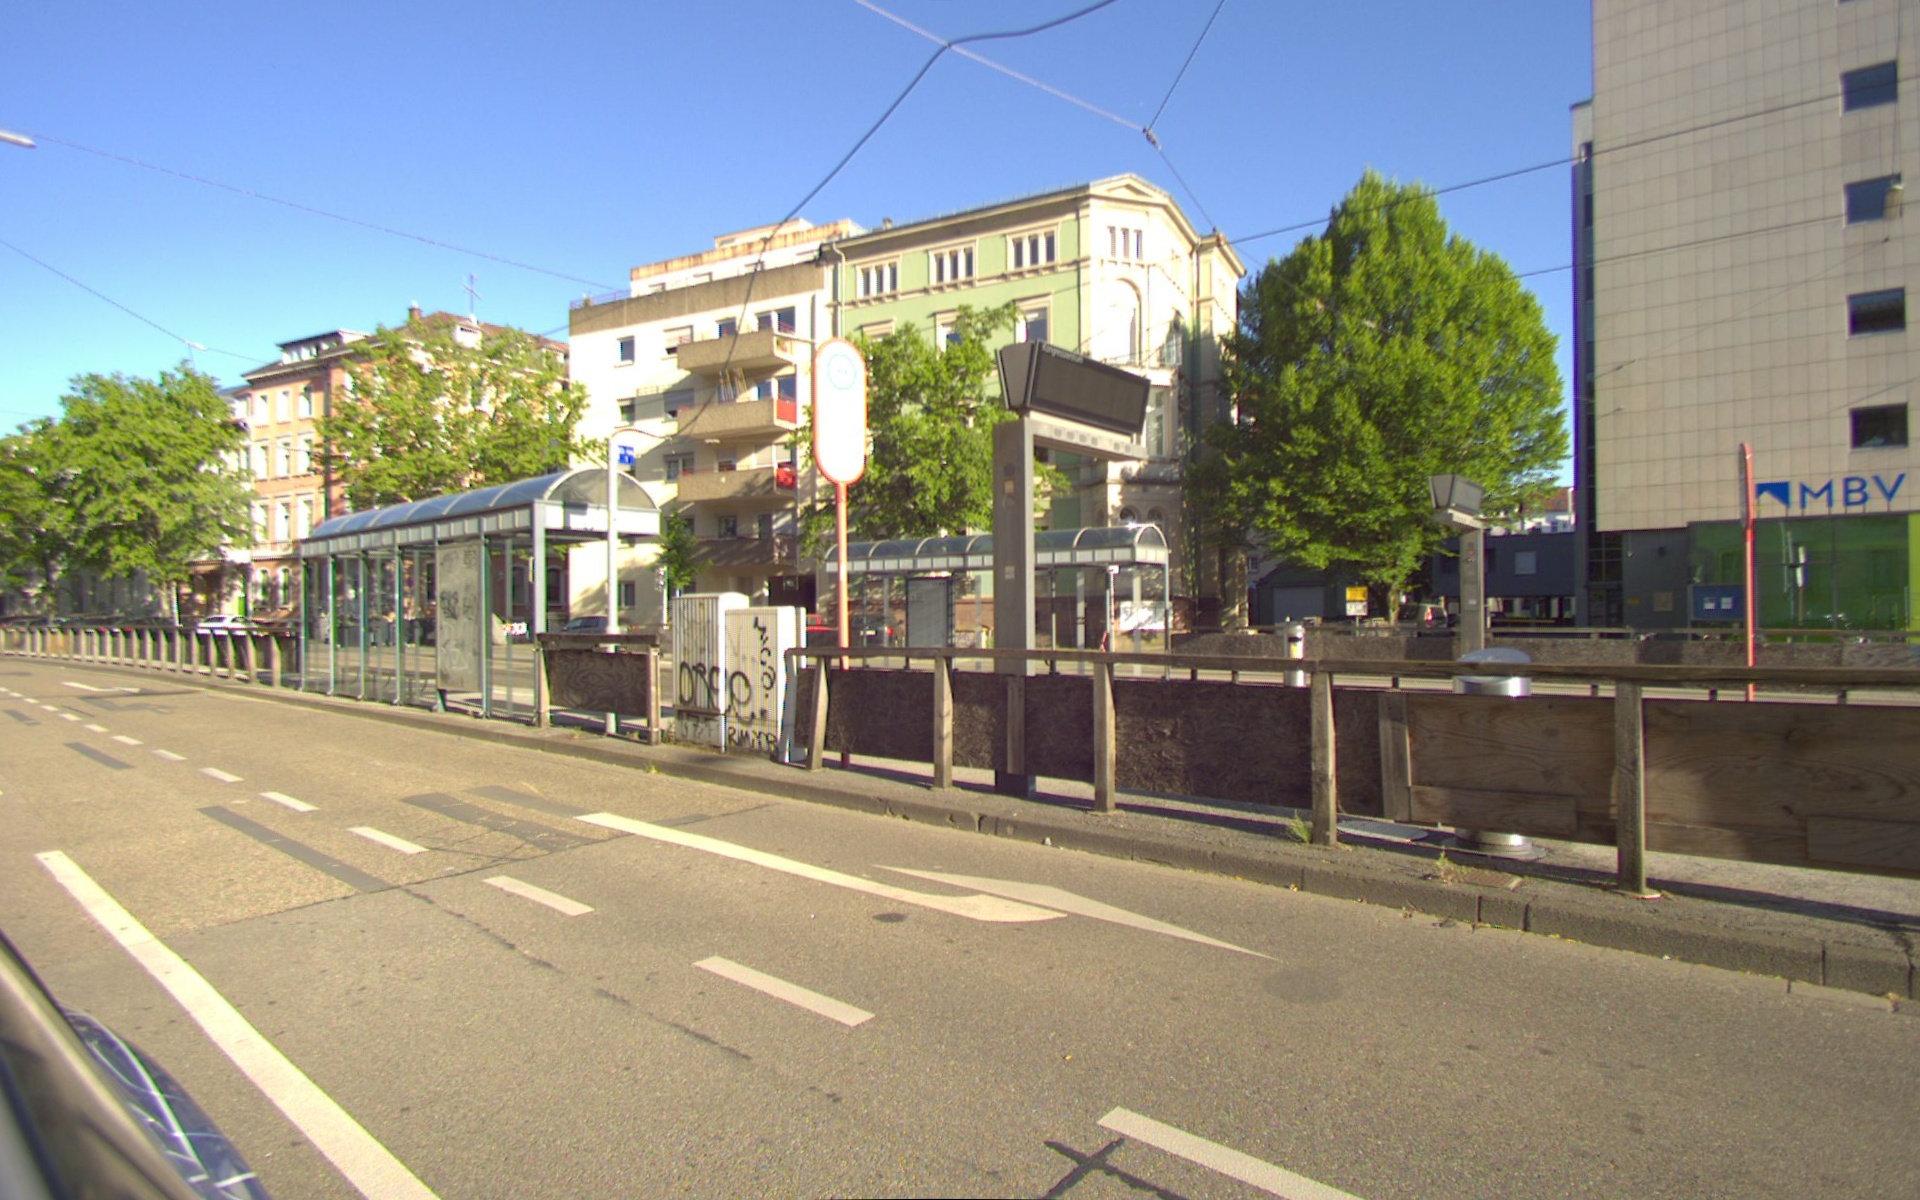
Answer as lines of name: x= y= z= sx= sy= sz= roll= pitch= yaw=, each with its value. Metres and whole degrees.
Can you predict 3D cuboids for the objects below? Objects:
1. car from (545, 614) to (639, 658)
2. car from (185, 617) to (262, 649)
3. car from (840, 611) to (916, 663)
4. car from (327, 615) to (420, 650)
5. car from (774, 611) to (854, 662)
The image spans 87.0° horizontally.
car: x=-14.040 y=1.326 z=38.524 sx=3.592 sy=1.579 sz=1.612 roll=-1 pitch=0 yaw=35
car: x=-39.405 y=1.729 z=54.219 sx=1.607 sy=1.579 sz=3.601 roll=-1 pitch=0 yaw=-2
car: x=-2.655 y=1.179 z=33.375 sx=1.614 sy=1.579 sz=3.588 roll=-1 pitch=0 yaw=11
car: x=-28.405 y=1.550 z=49.061 sx=1.626 sy=1.579 sz=3.560 roll=-1 pitch=0 yaw=33
car: x=-4.928 y=1.208 z=34.571 sx=1.614 sy=1.579 sz=3.588 roll=-1 pitch=0 yaw=11
